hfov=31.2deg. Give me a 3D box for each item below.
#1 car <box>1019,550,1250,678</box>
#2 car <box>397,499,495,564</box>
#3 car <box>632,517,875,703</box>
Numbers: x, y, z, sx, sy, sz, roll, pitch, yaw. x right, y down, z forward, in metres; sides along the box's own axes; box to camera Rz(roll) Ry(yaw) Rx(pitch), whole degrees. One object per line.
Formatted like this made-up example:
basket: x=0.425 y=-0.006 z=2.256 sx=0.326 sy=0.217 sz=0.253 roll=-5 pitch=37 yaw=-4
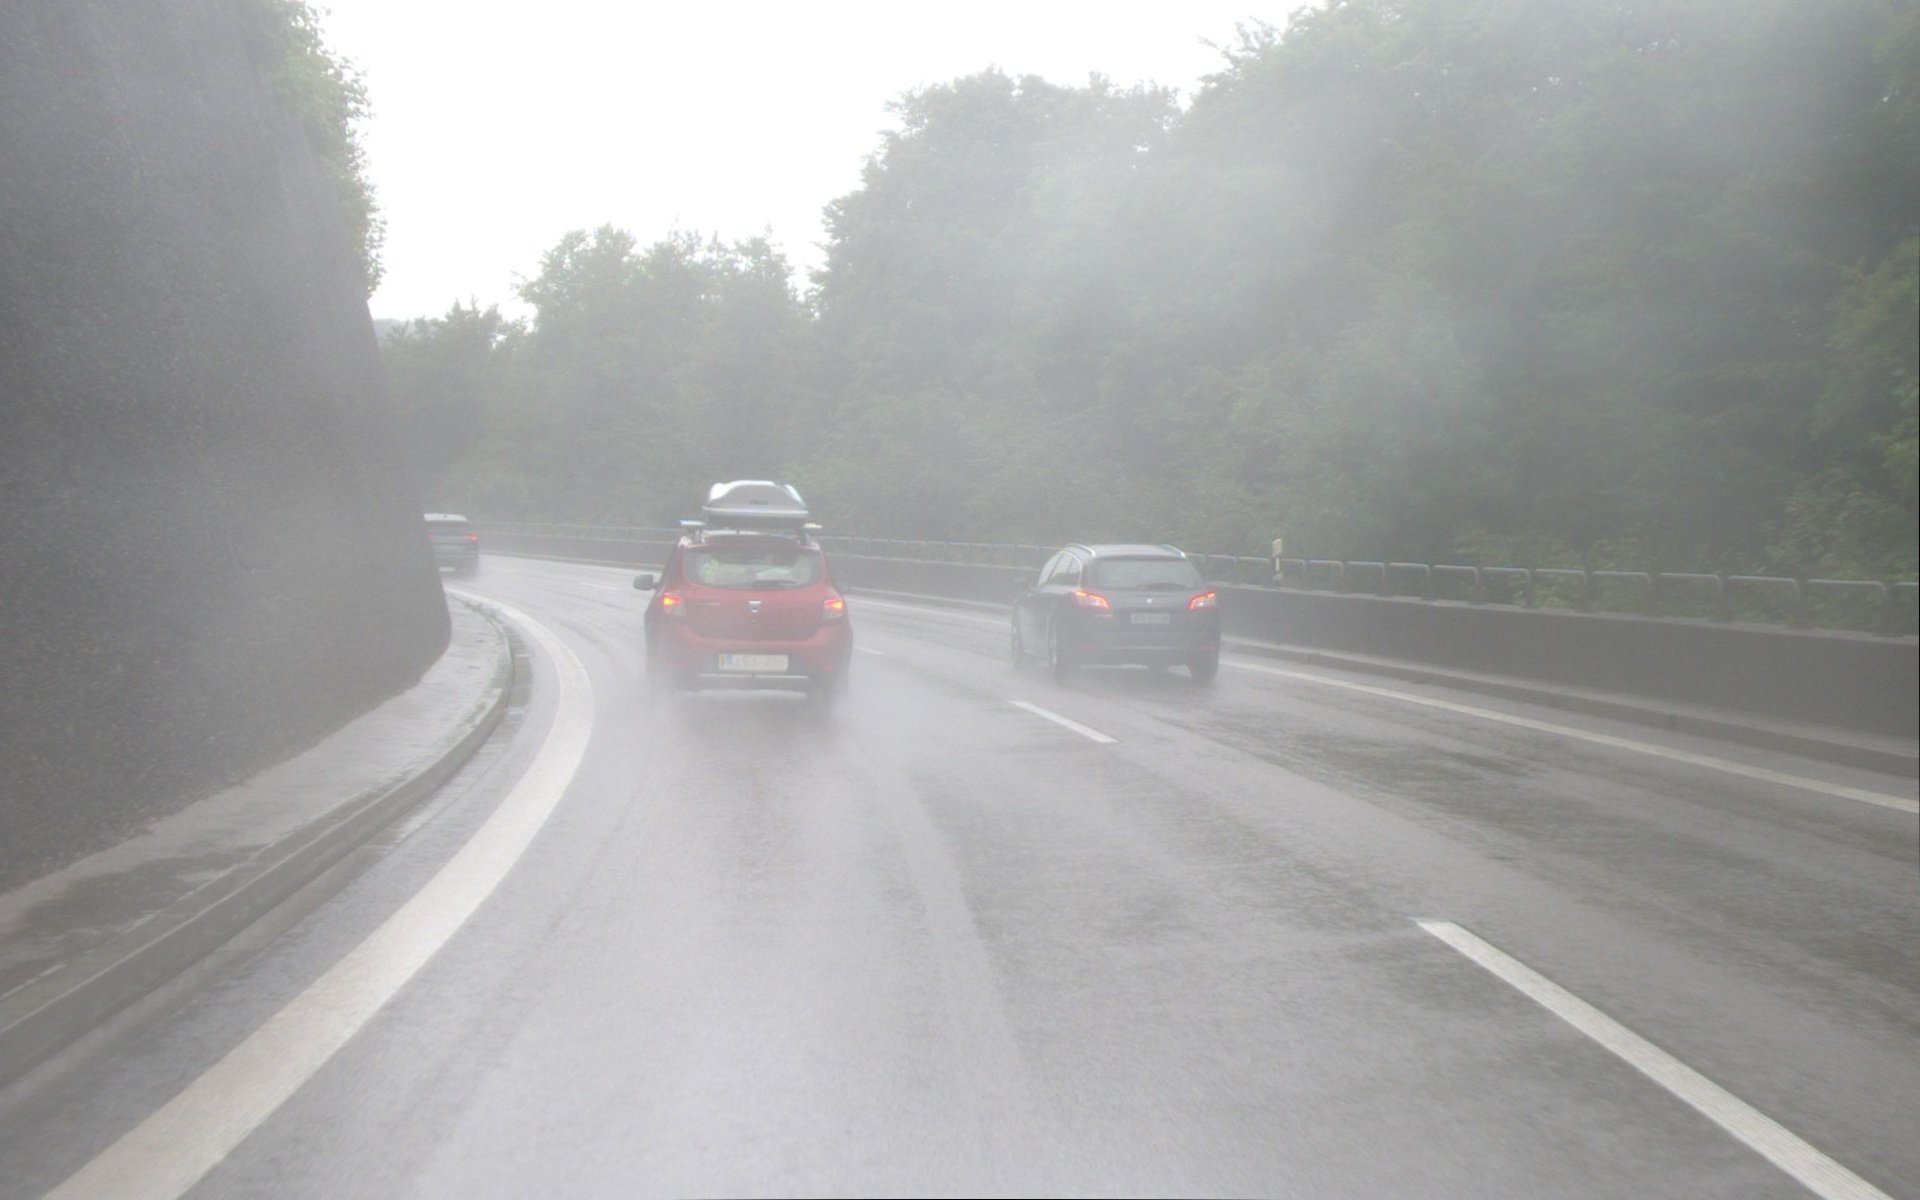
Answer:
car: x=1.854 y=0.123 z=37.777 sx=1.800 sy=1.303 sz=4.001 roll=1 pitch=1 yaw=-8
car: x=-13.957 y=-1.842 z=93.210 sx=1.993 sy=1.678 sz=4.001 roll=2 pitch=0 yaw=-17
car: x=-1.948 y=0.058 z=31.283 sx=1.993 sy=1.546 sz=4.001 roll=1 pitch=1 yaw=-6
